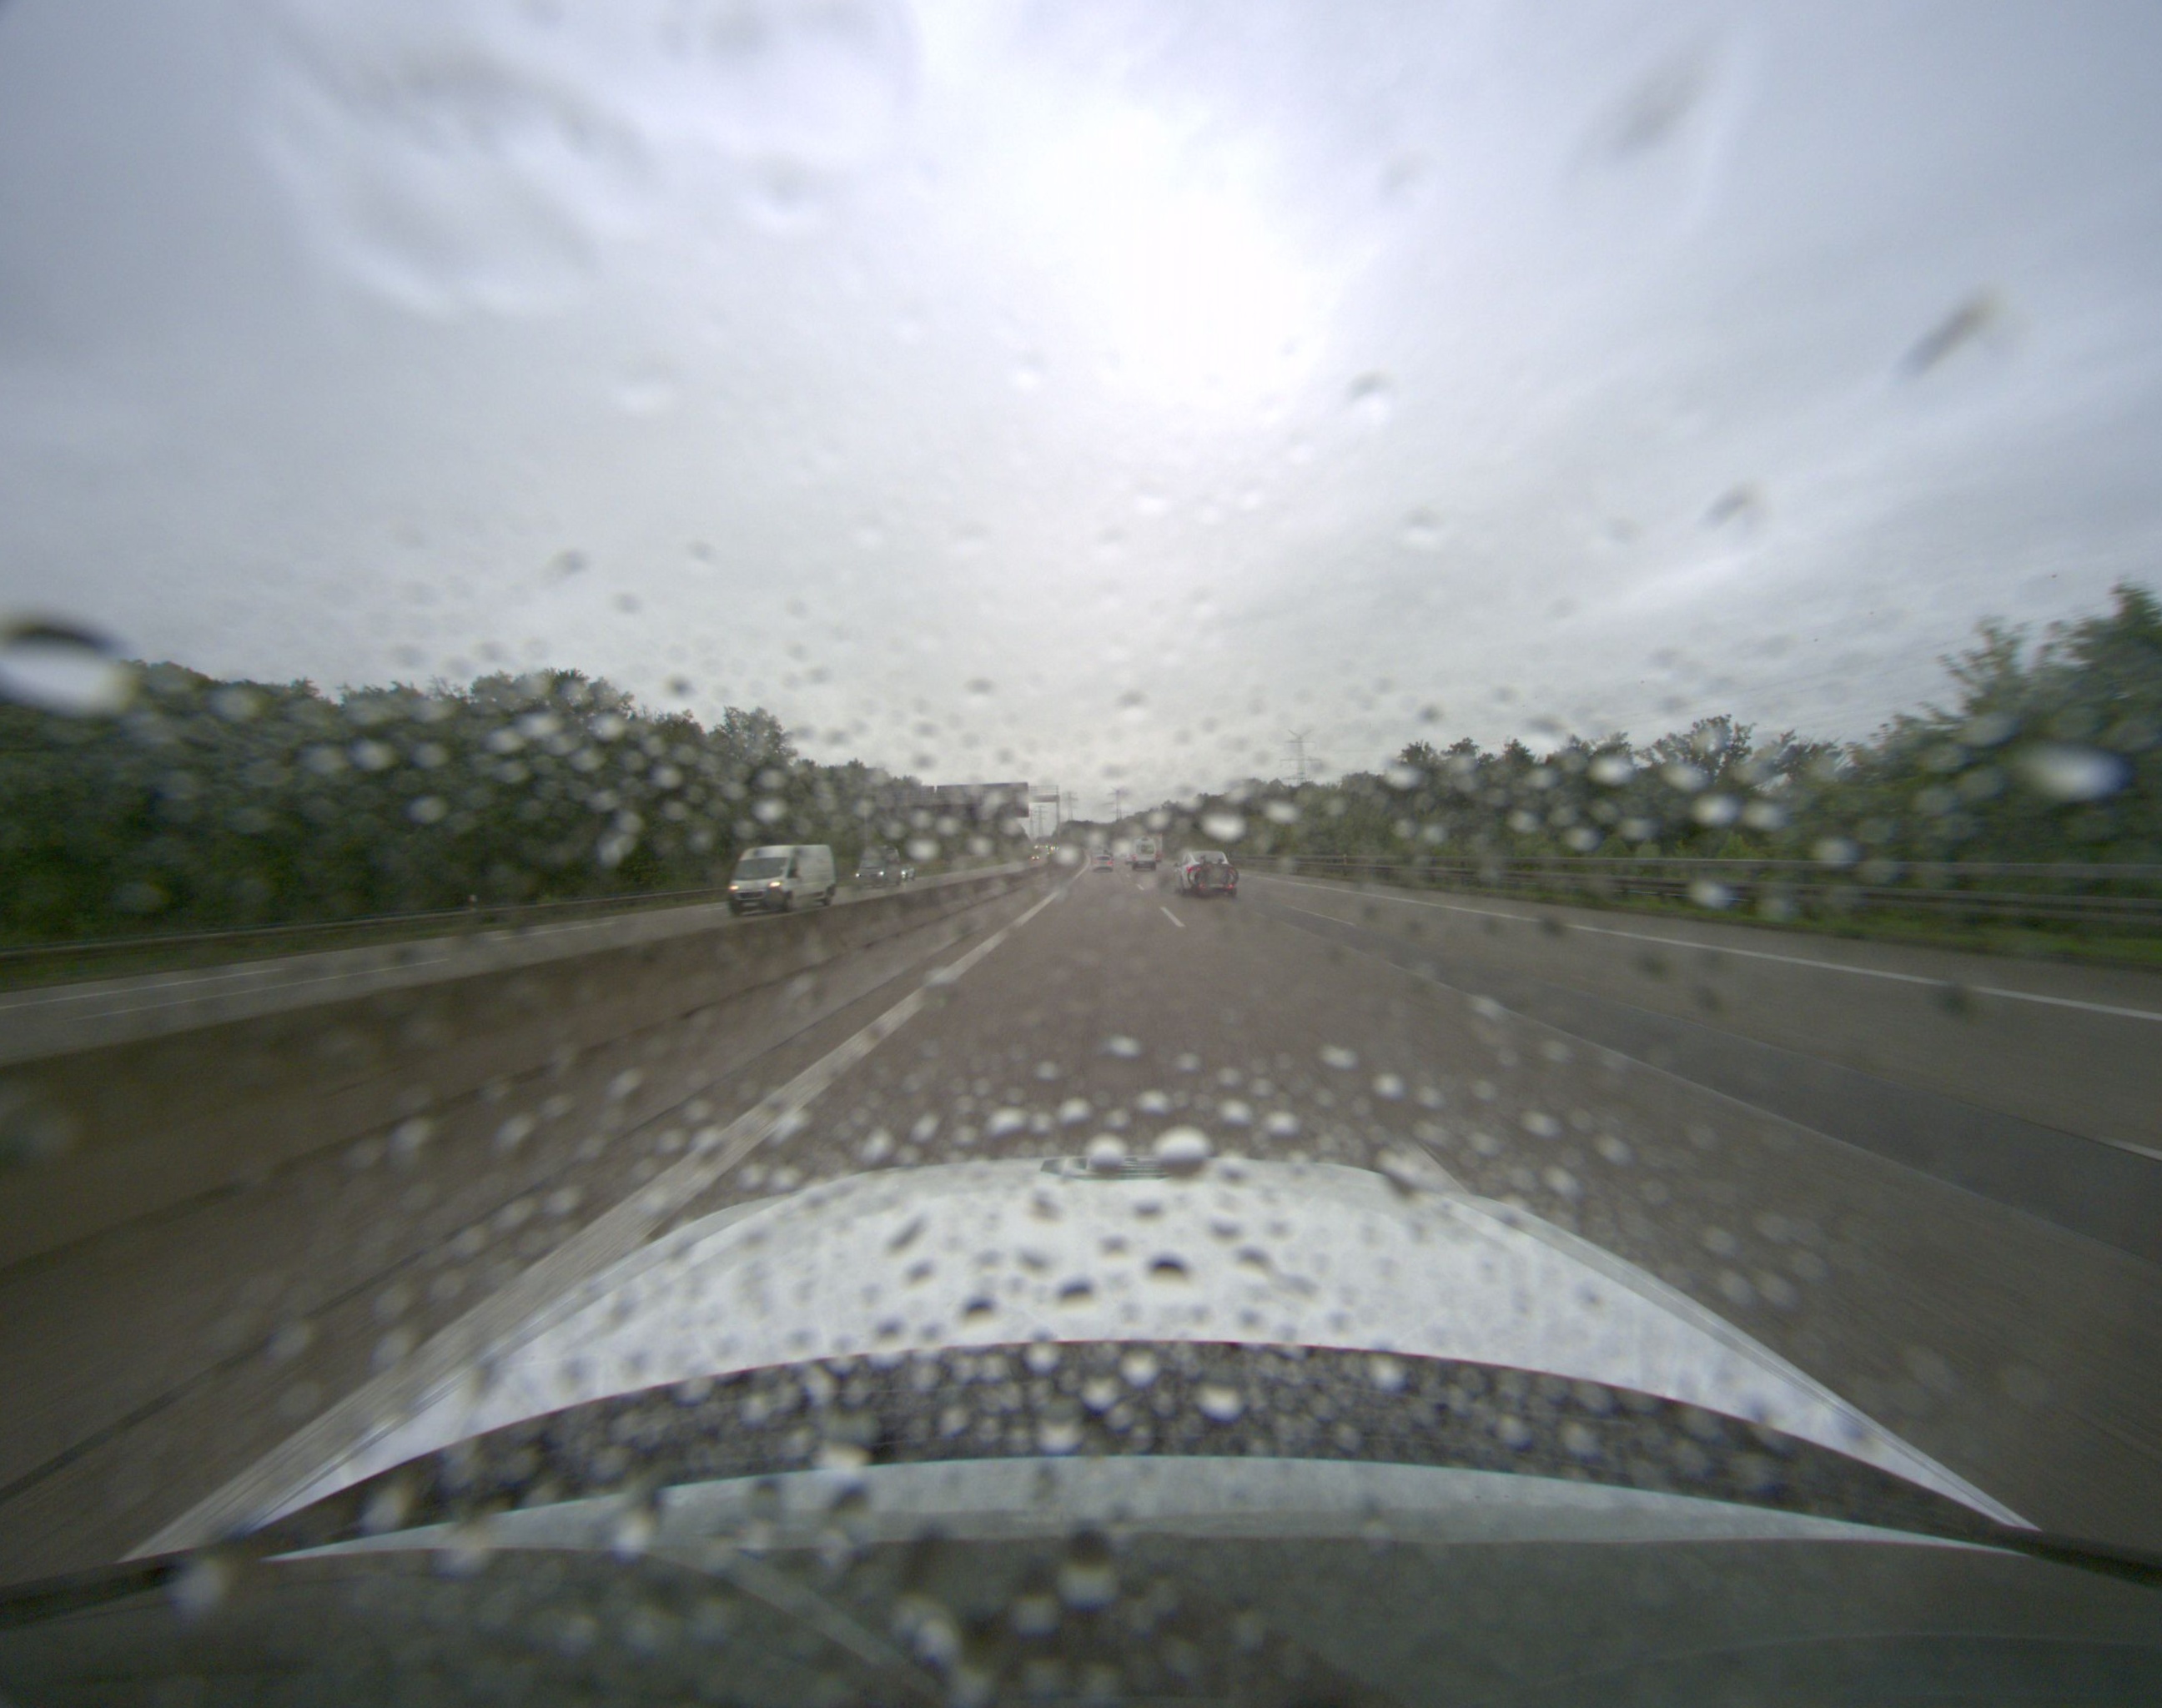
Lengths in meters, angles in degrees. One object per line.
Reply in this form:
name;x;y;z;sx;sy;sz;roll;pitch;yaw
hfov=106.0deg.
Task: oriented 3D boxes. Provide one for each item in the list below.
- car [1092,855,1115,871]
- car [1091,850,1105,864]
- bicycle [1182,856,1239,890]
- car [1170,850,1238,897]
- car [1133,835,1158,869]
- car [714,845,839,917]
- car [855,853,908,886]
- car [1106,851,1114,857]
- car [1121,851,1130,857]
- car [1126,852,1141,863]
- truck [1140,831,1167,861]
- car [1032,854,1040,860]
car;1.948;0.737;69.916;1.860;1.288;4.001;-2;0;1
car;2.181;0.429;103.598;1.839;1.772;4.001;0;0;1
bicycle;4.274;0.629;26.928;1.747;1.090;0.914;-1;-1;0
car;4.409;0.646;29.865;1.854;1.568;4.965;-1;0;1
car;5.686;-0.168;72.665;1.985;2.864;4.003;-2;0;3
car;-11.165;0.911;30.472;2.269;2.331;6.173;-2;0;0
car;-14.218;1.067;58.392;1.986;2.168;6.419;-2;0;2
car;7.703;0.033;213.803;1.986;1.574;4.001;-3;-1;1
car;11.137;-0.038;204.871;1.987;1.486;4.001;-4;0;1
car;6.779;0.437;106.182;1.849;1.422;4.002;-1;0;2
truck;11.125;-1.151;126.213;3.588;4.332;13.210;-2;0;3
car;-11.563;0.784;208.062;1.859;1.442;3.996;-2;0;-3
